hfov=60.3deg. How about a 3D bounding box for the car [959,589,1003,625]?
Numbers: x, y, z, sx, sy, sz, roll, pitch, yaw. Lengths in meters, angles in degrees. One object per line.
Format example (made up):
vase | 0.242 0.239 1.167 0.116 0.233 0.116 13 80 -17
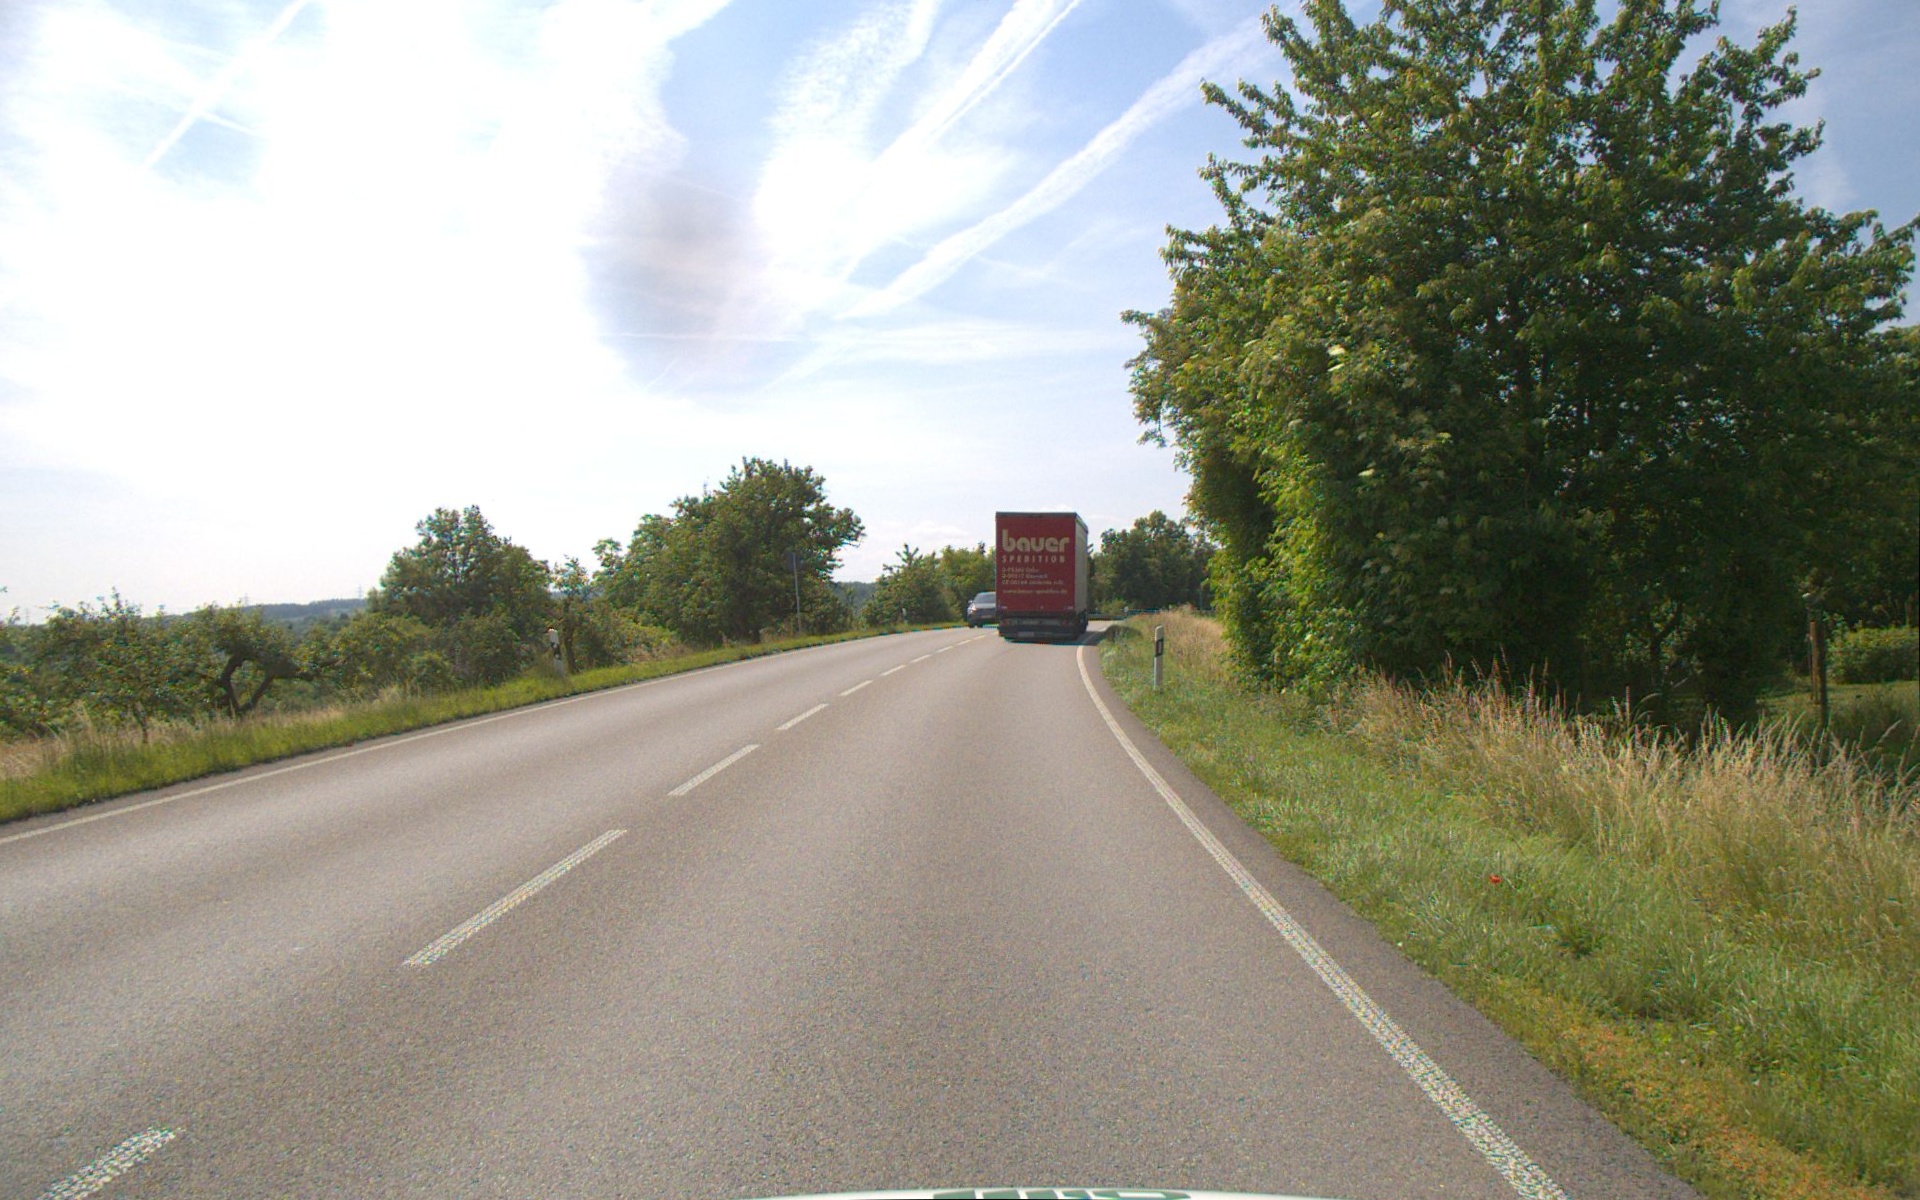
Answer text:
car | 1.007 0.302 77.626 1.840 1.620 4.494 0 0 4

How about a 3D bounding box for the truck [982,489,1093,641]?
truck | 2.855 -0.993 56.707 3.046 4.585 12.174 1 -1 6
